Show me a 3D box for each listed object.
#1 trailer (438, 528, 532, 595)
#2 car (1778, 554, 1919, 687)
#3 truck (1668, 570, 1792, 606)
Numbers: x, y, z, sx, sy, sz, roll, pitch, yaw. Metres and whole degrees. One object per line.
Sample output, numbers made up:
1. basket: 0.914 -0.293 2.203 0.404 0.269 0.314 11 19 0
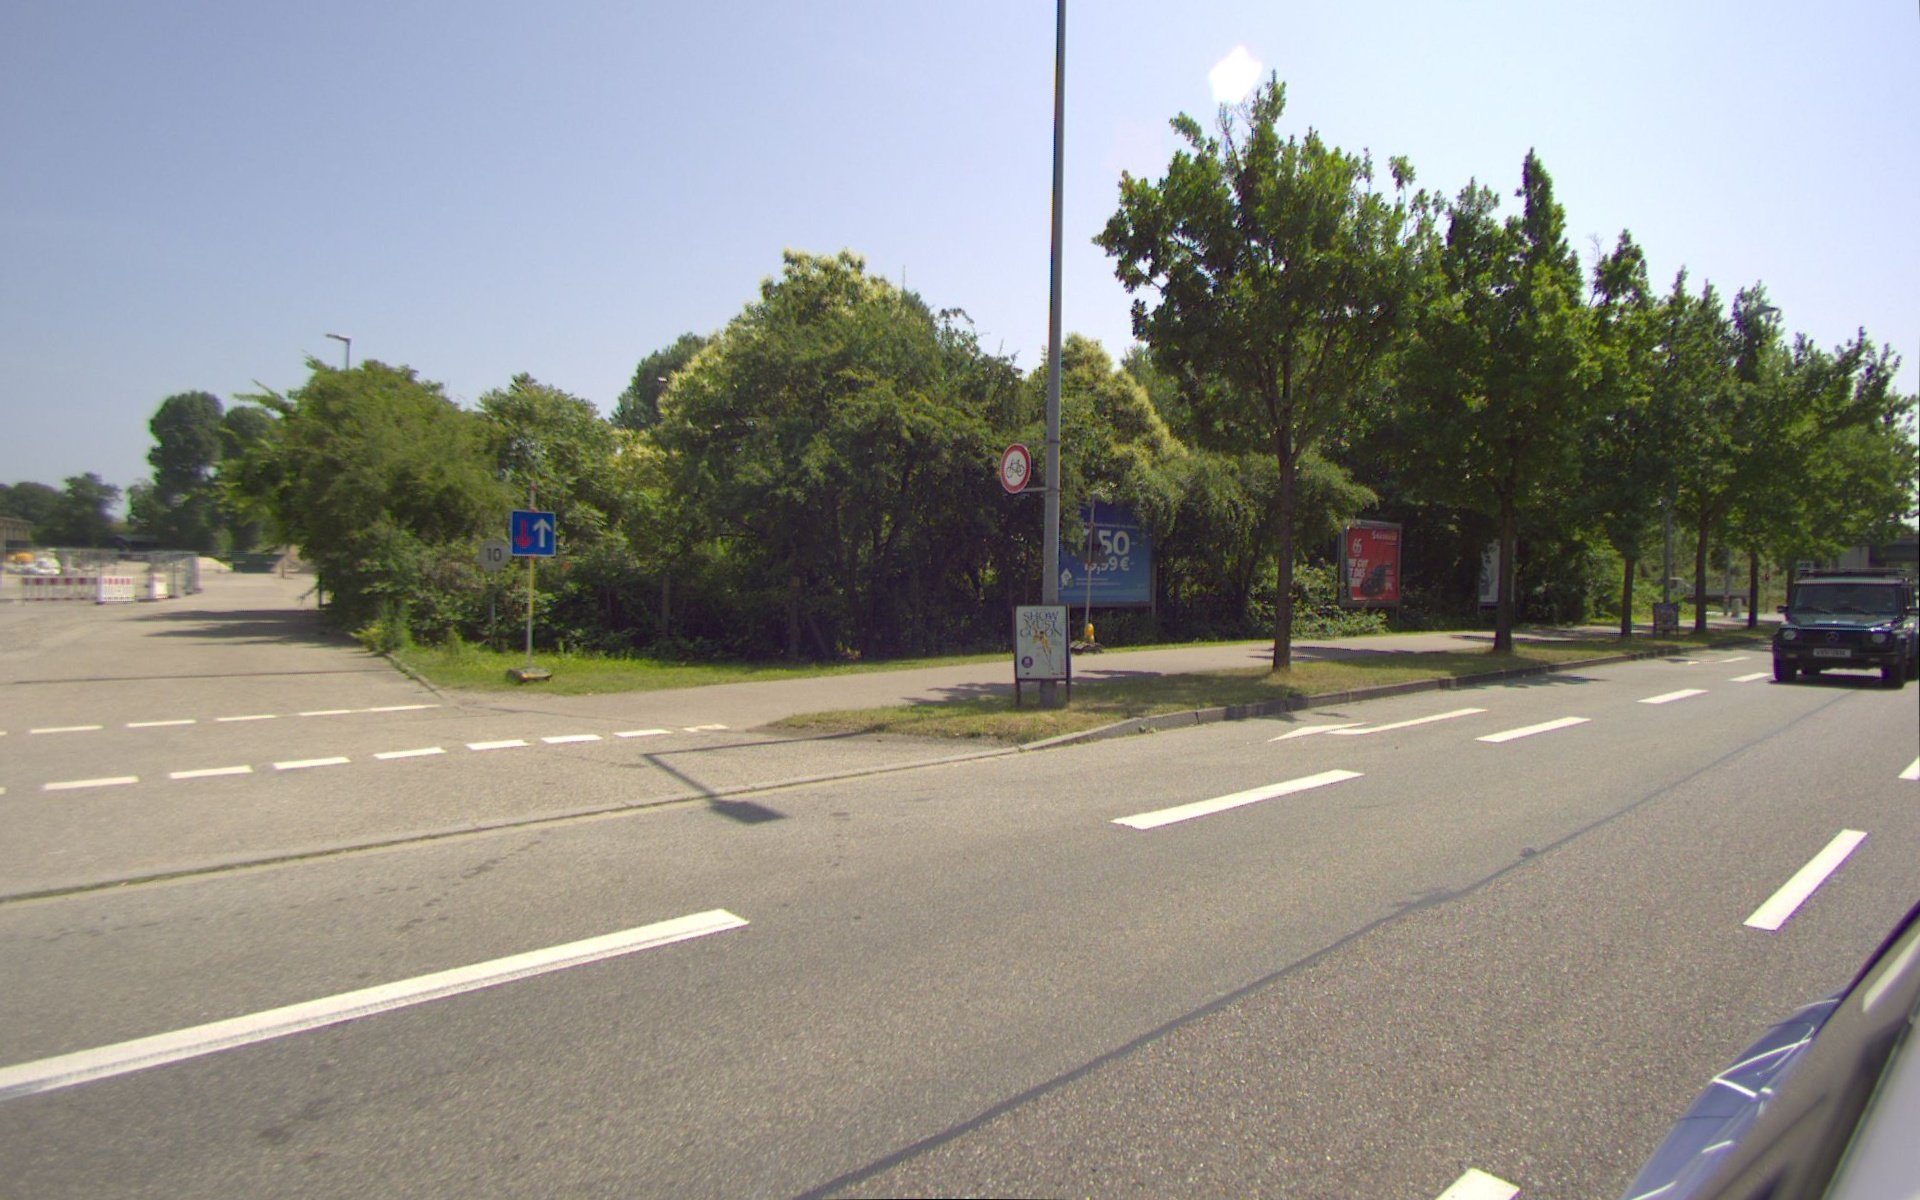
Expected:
1. trailer: -24.778 -1.974 52.760 3.926 3.372 2.718 0 1 -38
2. car: 16.808 0.283 18.849 4.481 2.180 1.839 -1 2 -43
3. truck: 67.713 -1.108 89.148 8.487 2.952 2.843 2 2 43
